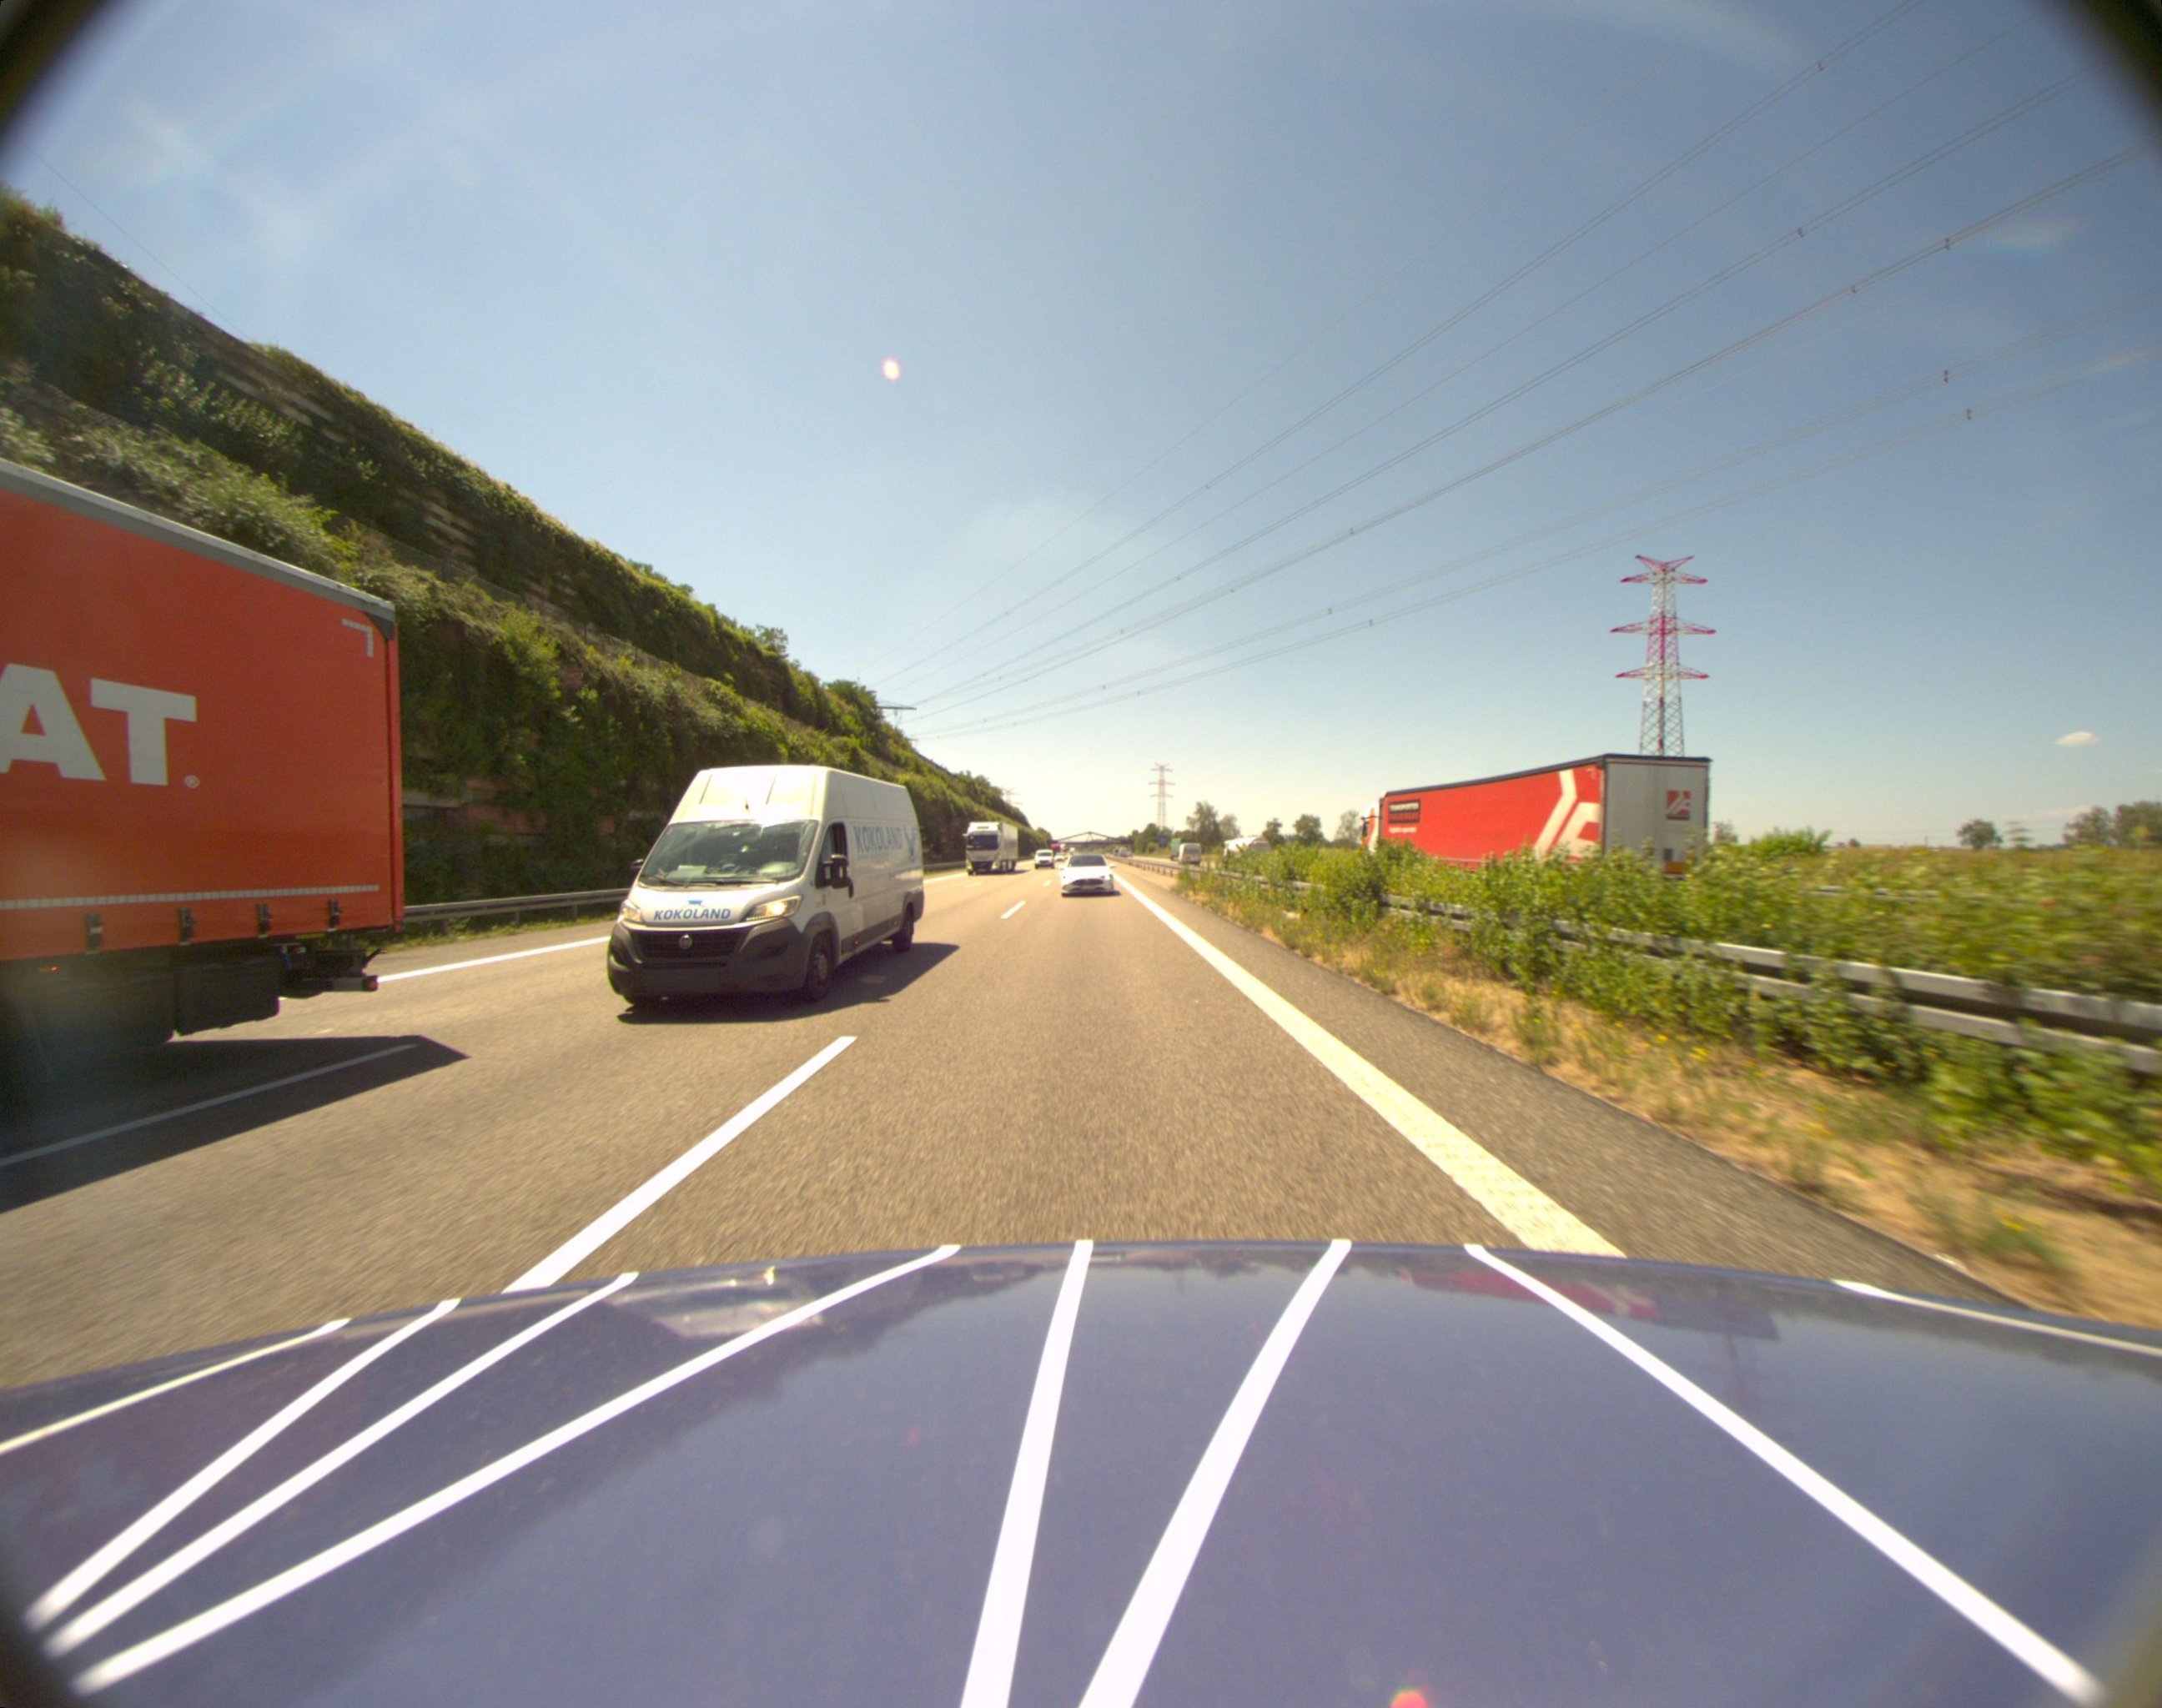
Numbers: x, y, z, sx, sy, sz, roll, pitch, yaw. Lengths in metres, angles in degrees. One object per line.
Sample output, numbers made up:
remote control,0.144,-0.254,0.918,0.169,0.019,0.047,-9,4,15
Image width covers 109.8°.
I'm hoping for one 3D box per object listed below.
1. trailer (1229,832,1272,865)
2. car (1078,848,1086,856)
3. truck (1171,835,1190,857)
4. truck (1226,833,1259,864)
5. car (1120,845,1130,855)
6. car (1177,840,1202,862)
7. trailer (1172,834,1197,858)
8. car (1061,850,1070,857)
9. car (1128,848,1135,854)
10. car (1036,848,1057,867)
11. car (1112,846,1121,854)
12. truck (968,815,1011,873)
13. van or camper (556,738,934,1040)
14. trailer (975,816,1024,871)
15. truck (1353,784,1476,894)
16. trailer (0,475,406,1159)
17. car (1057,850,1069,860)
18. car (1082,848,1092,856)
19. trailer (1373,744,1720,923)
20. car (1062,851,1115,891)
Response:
trailer,18.315,-0.578,82.932,2.422,3.352,11.563,0,1,2
car,0.368,-0.496,200.740,1.998,2.002,3.999,-2,1,1
truck,18.838,-1.478,143.681,2.706,4.111,6.580,0,1,0
truck,18.455,-0.643,87.122,2.489,3.359,6.211,0,1,1
car,11.016,-1.068,191.970,2.053,2.424,6.068,1,1,0
car,12.068,-0.330,84.800,1.998,2.423,6.029,0,1,2
trailer,18.695,-1.457,138.438,2.676,4.061,13.914,0,0,0
car,-3.266,-0.140,159.654,1.784,1.475,3.999,-1,0,-1
car,15.293,-0.904,228.804,1.712,1.515,4.513,2,1,0
car,-3.330,0.313,73.604,1.784,1.783,3.999,-1,1,0
car,10.102,-1.161,217.893,2.114,2.284,6.706,0,0,0
truck,-6.991,-0.777,58.840,2.514,4.196,6.255,-1,1,0
van or camper,-3.756,0.301,10.409,2.102,2.753,6.756,-1,0,0
trailer,-6.970,-0.857,67.553,2.521,4.187,17.025,-1,0,0
truck,13.743,-0.599,31.845,2.606,4.187,5.909,0,1,1
trailer,-7.662,-0.162,0.154,2.652,3.982,13.604,-1,0,1
car,-2.914,0.168,122.524,1.784,1.475,3.999,-1,0,-1
car,1.190,-0.362,142.623,1.784,1.475,3.999,0,0,-1
trailer,13.697,-0.530,25.042,2.597,4.213,14.327,0,1,0
car,0.298,0.648,31.192,1.999,1.474,4.107,-1,0,0
